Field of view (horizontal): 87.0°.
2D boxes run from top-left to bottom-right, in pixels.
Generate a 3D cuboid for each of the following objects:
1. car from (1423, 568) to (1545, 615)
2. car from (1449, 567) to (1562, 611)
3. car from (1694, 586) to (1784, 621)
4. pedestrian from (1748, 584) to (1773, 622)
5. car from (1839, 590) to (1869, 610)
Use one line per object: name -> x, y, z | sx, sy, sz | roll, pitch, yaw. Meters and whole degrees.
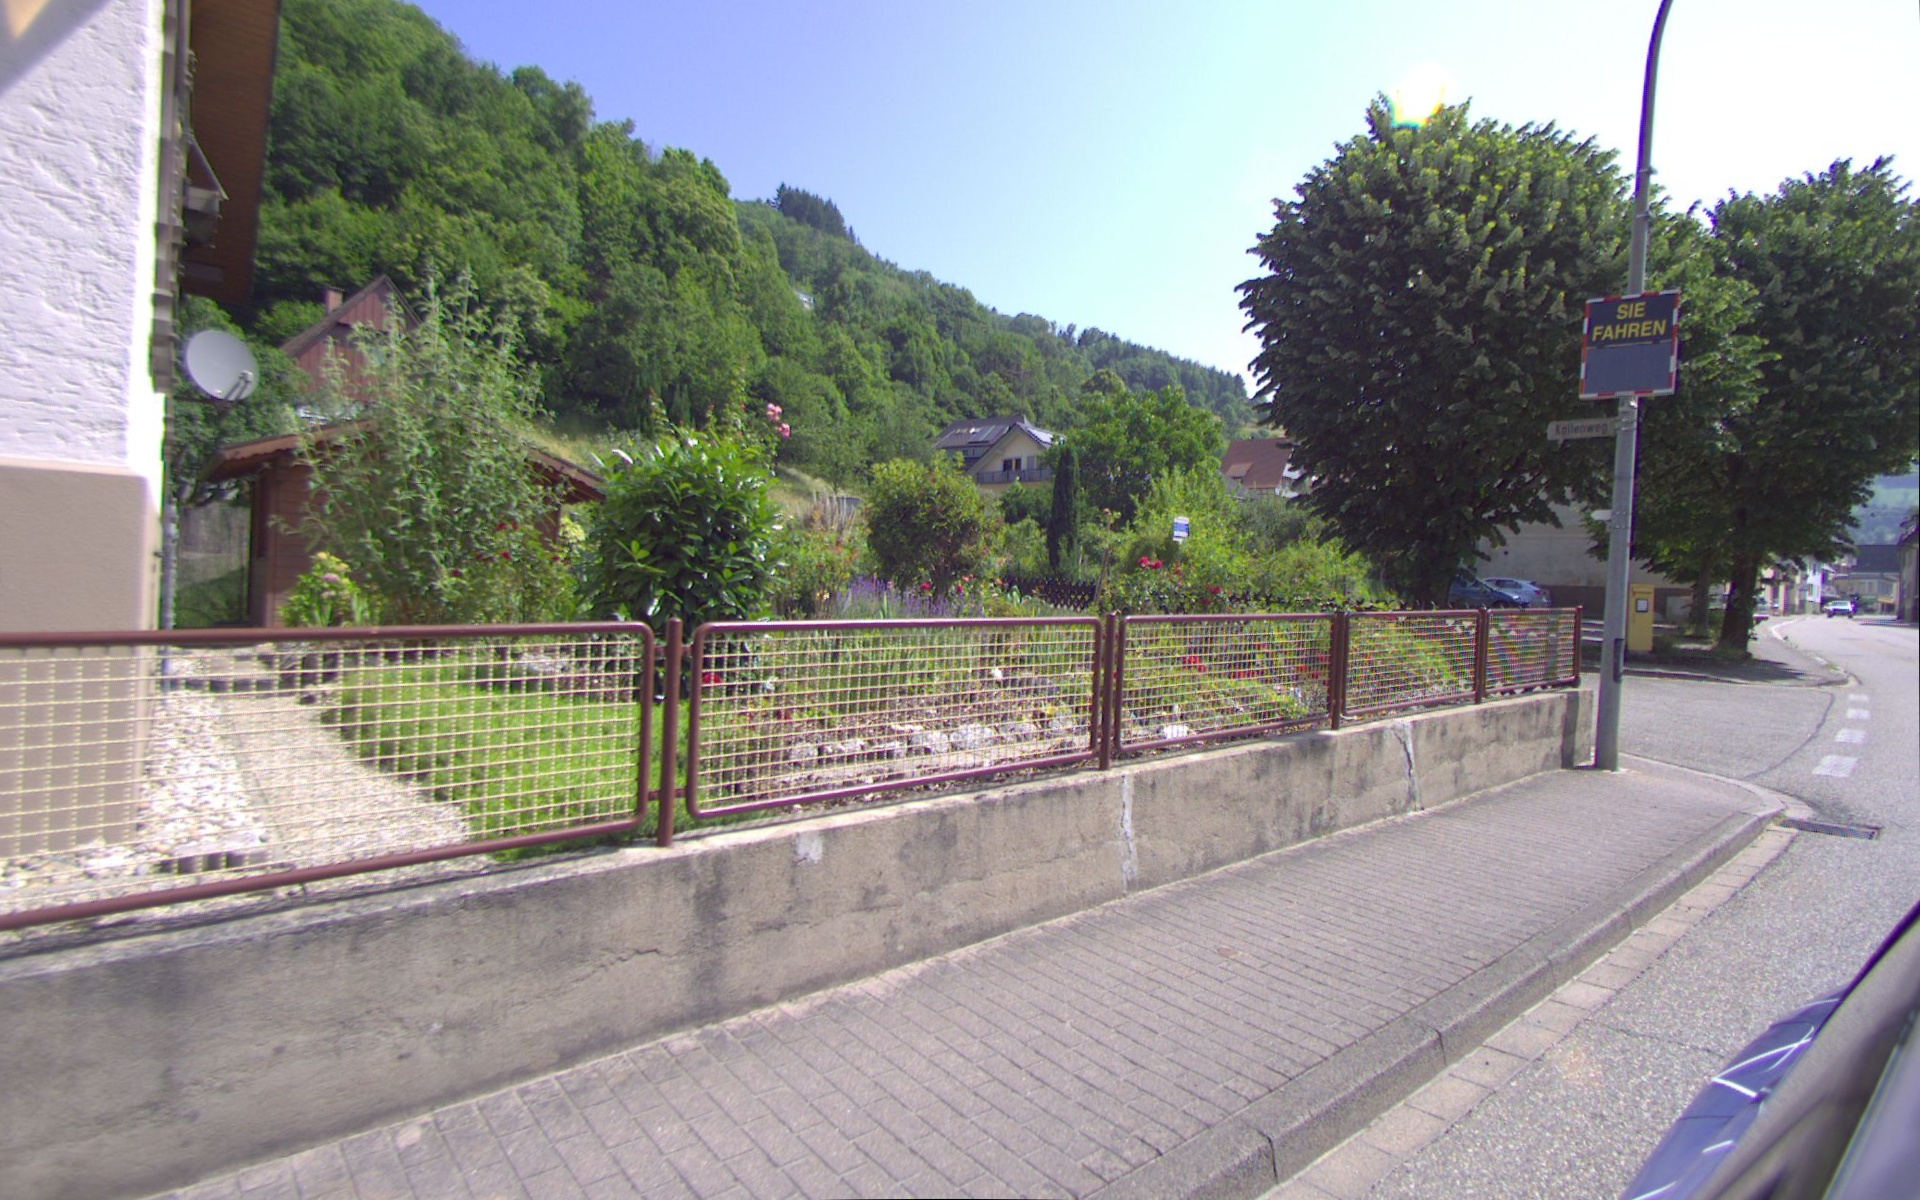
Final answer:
car -> 19.579, -0.350, 37.886 | 3.824, 1.424, 1.546 | 6, 4, 36
car -> 22.682, -0.491, 42.128 | 3.925, 1.489, 1.635 | 6, 4, 35
car -> 41.161, 0.176, 53.522 | 1.617, 1.615, 3.353 | 1, 3, -27
pedestrian -> 36.705, 0.117, 46.418 | 0.699, 1.691, 0.682 | 1, 2, -40
car -> 92.723, 0.012, 104.990 | 3.933, 2.039, 1.996 | 0, 1, -44
